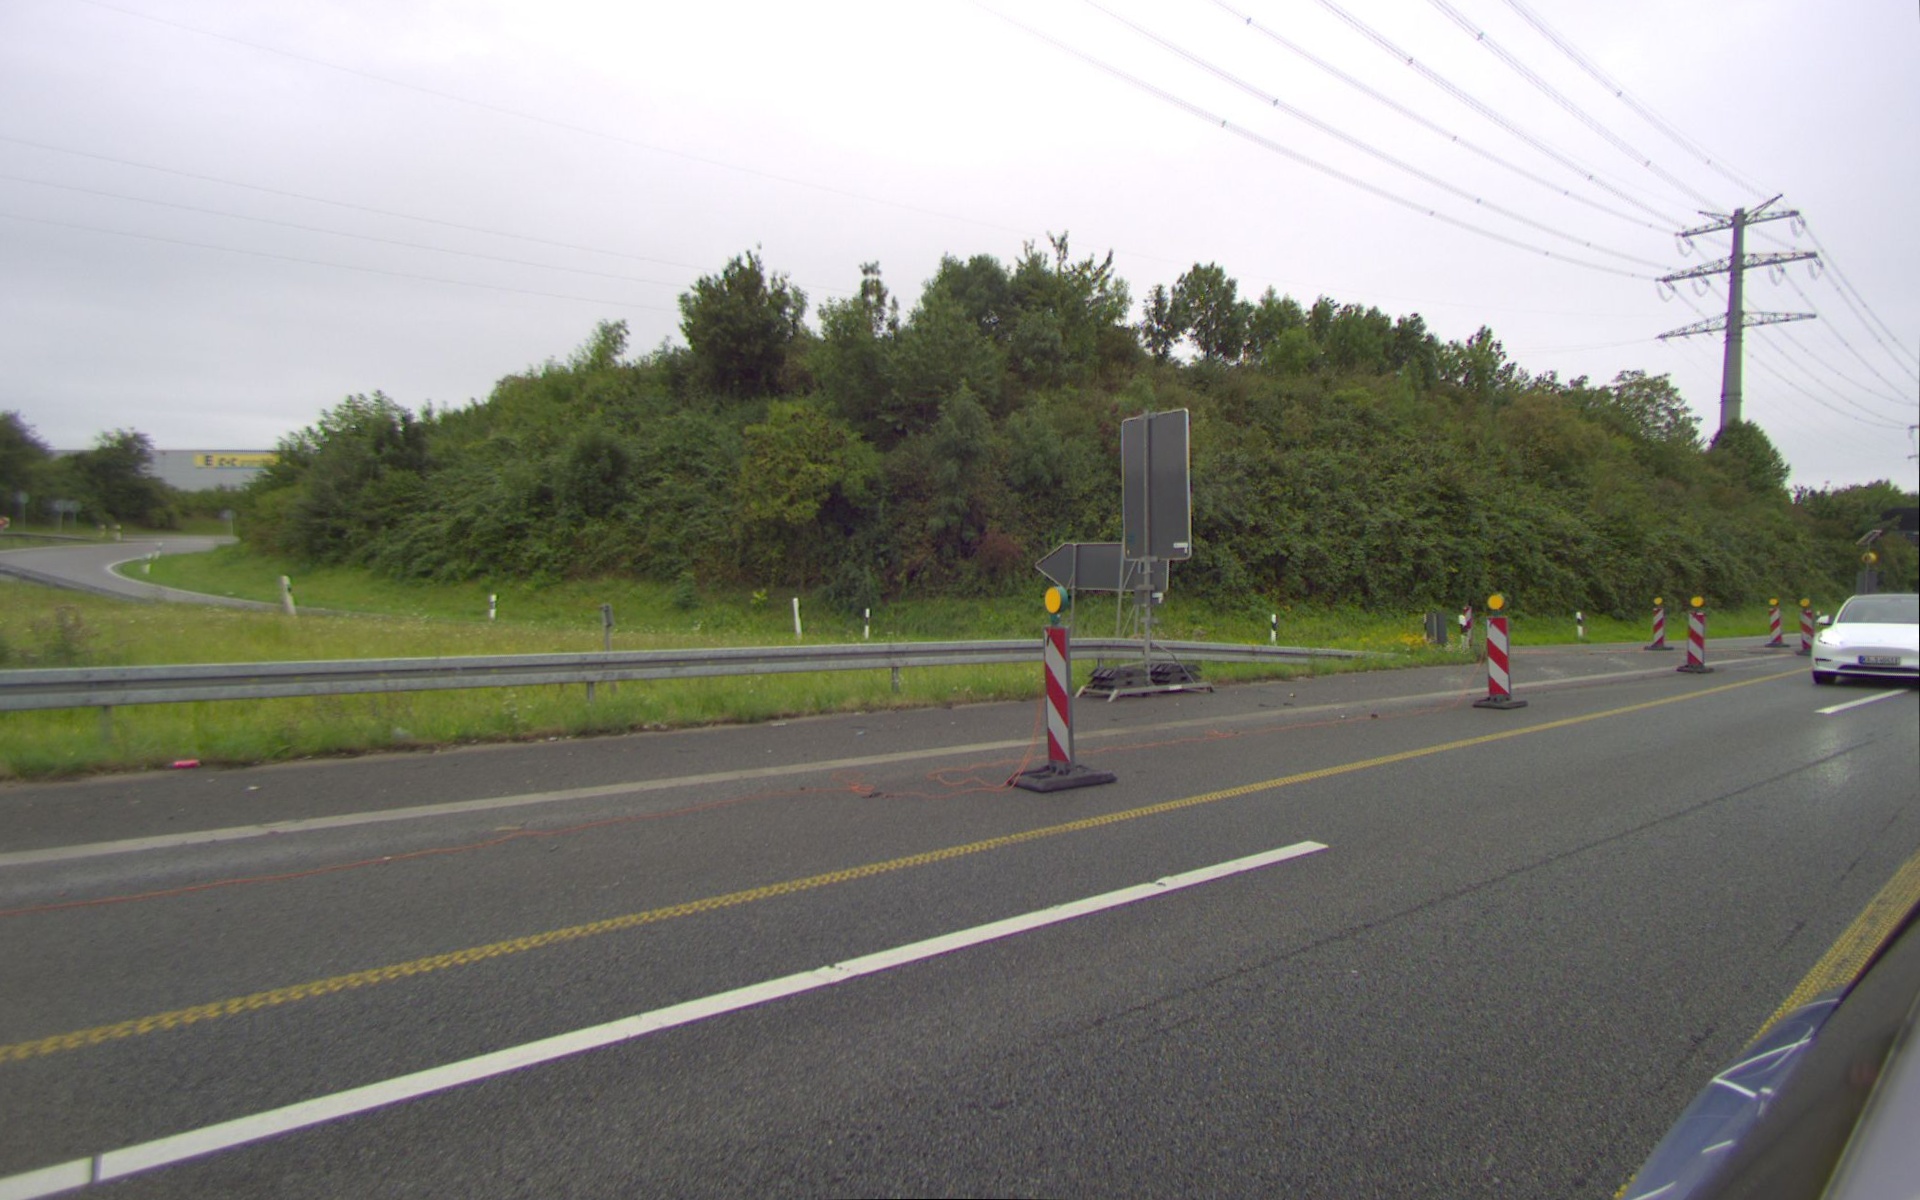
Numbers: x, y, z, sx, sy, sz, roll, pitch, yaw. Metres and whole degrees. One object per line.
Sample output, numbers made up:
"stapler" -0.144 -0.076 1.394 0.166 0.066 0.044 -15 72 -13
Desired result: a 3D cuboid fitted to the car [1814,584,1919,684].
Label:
"car" 17.488 0.526 18.479 5.700 1.616 2.049 0 0 -41
